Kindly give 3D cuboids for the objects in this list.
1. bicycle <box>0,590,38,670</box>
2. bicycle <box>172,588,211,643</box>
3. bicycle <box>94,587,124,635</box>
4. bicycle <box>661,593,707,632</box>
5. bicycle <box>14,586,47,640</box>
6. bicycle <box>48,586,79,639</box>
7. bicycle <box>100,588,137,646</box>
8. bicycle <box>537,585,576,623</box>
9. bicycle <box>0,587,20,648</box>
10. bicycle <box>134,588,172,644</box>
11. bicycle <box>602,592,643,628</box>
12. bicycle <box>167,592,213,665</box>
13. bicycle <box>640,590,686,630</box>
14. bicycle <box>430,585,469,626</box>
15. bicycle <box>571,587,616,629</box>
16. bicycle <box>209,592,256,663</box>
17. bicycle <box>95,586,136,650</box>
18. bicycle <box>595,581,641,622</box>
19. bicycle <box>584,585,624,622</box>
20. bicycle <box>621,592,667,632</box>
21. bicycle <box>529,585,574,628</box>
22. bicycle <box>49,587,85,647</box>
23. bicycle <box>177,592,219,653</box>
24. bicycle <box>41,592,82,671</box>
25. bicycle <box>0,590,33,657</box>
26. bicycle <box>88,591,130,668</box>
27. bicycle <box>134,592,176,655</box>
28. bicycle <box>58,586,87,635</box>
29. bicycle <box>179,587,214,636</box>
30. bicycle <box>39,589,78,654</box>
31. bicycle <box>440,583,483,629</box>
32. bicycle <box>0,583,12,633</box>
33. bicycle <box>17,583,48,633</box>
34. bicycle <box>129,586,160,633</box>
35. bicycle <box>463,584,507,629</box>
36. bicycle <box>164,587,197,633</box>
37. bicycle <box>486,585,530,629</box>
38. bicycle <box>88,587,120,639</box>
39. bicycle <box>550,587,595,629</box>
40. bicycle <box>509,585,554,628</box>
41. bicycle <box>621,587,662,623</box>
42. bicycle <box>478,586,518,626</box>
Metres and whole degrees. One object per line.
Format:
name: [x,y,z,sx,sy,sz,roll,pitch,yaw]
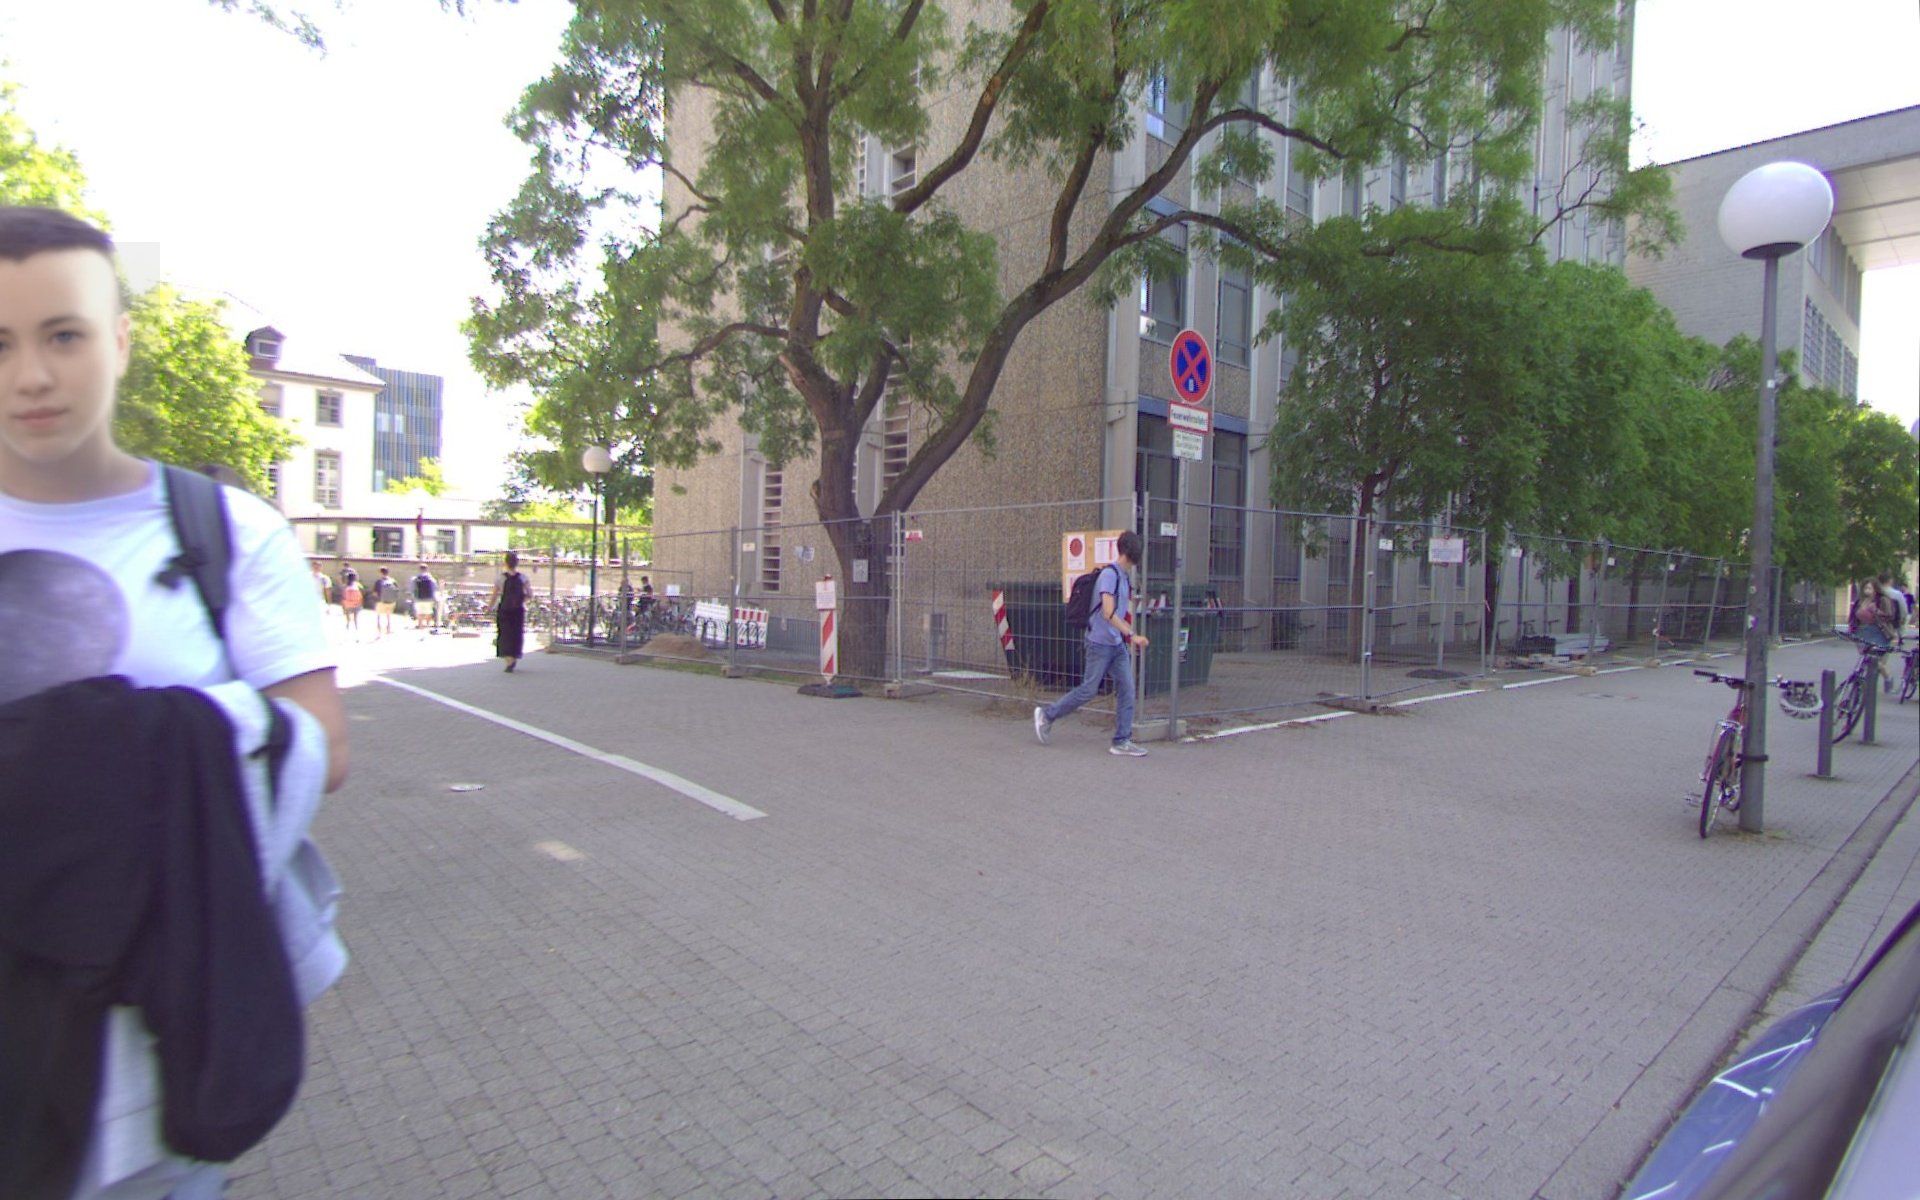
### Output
bicycle: [-14.710,0.439,15.782,0.466,1.184,1.999,0,0,-42]
bicycle: [-17.135,0.320,22.558,0.536,1.184,1.999,0,0,-42]
bicycle: [-21.743,0.251,25.841,0.536,1.184,1.999,0,0,-42]
bicycle: [-8.591,0.369,31.427,0.536,1.184,1.999,0,0,-42]
bicycle: [-21.285,0.283,23.198,0.536,1.184,1.999,0,0,-42]
bicycle: [-20.849,0.278,23.531,0.536,1.184,1.999,0,0,-42]
bicycle: [-17.997,0.331,21.642,0.536,1.184,1.999,0,0,-42]
bicycle: [-12.939,0.118,32.430,0.536,1.184,1.999,0,0,-42]
bicycle: [-19.233,0.337,20.287,0.536,1.184,1.999,0,0,-42]
bicycle: [-17.561,0.323,22.003,0.536,1.184,1.999,0,0,-42]
bicycle: [-11.288,0.320,33.835,0.536,1.184,2.064,0,0,-42]
bicycle: [-13.195,0.456,17.319,0.466,1.184,1.999,0,0,-42]
bicycle: [-9.141,0.294,31.091,0.536,1.184,1.999,0,0,-42]
bicycle: [-15.116,0.146,29.919,0.536,1.184,1.999,0,0,-42]
bicycle: [-10.748,0.216,29.616,0.536,1.184,1.999,0,0,-42]
bicycle: [-12.839,0.447,17.829,0.466,1.184,1.999,0,0,-42]
bicycle: [-16.439,0.319,19.683,0.536,1.184,1.999,0,0,-42]
bicycle: [-10.155,0.042,30.011,0.536,1.184,1.999,0,0,-42]
bicycle: [-11.771,0.089,33.406,0.536,1.184,1.999,0,0,-42]
bicycle: [-9.563,0.337,30.605,0.536,1.184,1.999,0,0,-42]
bicycle: [-11.661,0.163,28.841,0.536,1.184,1.999,0,0,-42]
bicycle: [-18.633,0.331,21.116,0.536,1.184,1.999,0,0,-42]
bicycle: [-15.662,0.437,20.788,0.536,1.184,1.999,0,0,-42]
bicycle: [-14.435,0.469,16.255,0.466,1.184,1.999,0,0,-42]
bicycle: [-17.656,0.411,18.863,0.536,1.184,1.999,0,0,-42]
bicycle: [-13.981,0.451,16.610,0.466,1.184,1.999,0,0,-42]
bicycle: [-15.904,0.431,19.967,0.536,1.184,1.999,0,0,-42]
bicycle: [-22.332,0.239,25.446,0.536,1.184,1.999,0,0,-42]
bicycle: [-18.993,0.272,25.154,0.536,1.184,1.999,0,0,-42]
bicycle: [-17.216,0.382,19.323,0.536,1.184,1.999,0,0,-42]
bicycle: [-13.329,0.156,27.035,0.536,1.184,1.999,0,0,-42]
bicycle: [-23.367,0.186,24.529,0.536,1.184,1.999,0,0,-42]
bicycle: [-22.908,0.177,25.000,0.536,1.184,1.999,0,0,-42]
bicycle: [-21.238,0.239,26.341,0.536,1.184,1.999,0,0,-42]
bicycle: [-12.935,0.158,27.531,0.536,1.184,1.999,0,0,-42]
bicycle: [-20.637,0.253,26.778,0.536,1.184,1.999,0,0,-42]
bicycle: [-12.503,0.179,27.943,0.536,1.184,1.999,0,0,-42]
bicycle: [-20.236,0.281,23.913,0.536,1.184,1.999,0,0,-42]
bicycle: [-11.184,0.222,29.192,0.536,1.184,1.999,0,0,-42]
bicycle: [-12.016,0.168,28.365,0.536,1.184,1.999,0,0,-42]
bicycle: [-10.780,0.165,34.235,0.536,1.184,2.064,0,0,-42]
bicycle: [-14.177,0.179,31.017,0.536,1.184,1.999,0,0,-42]
